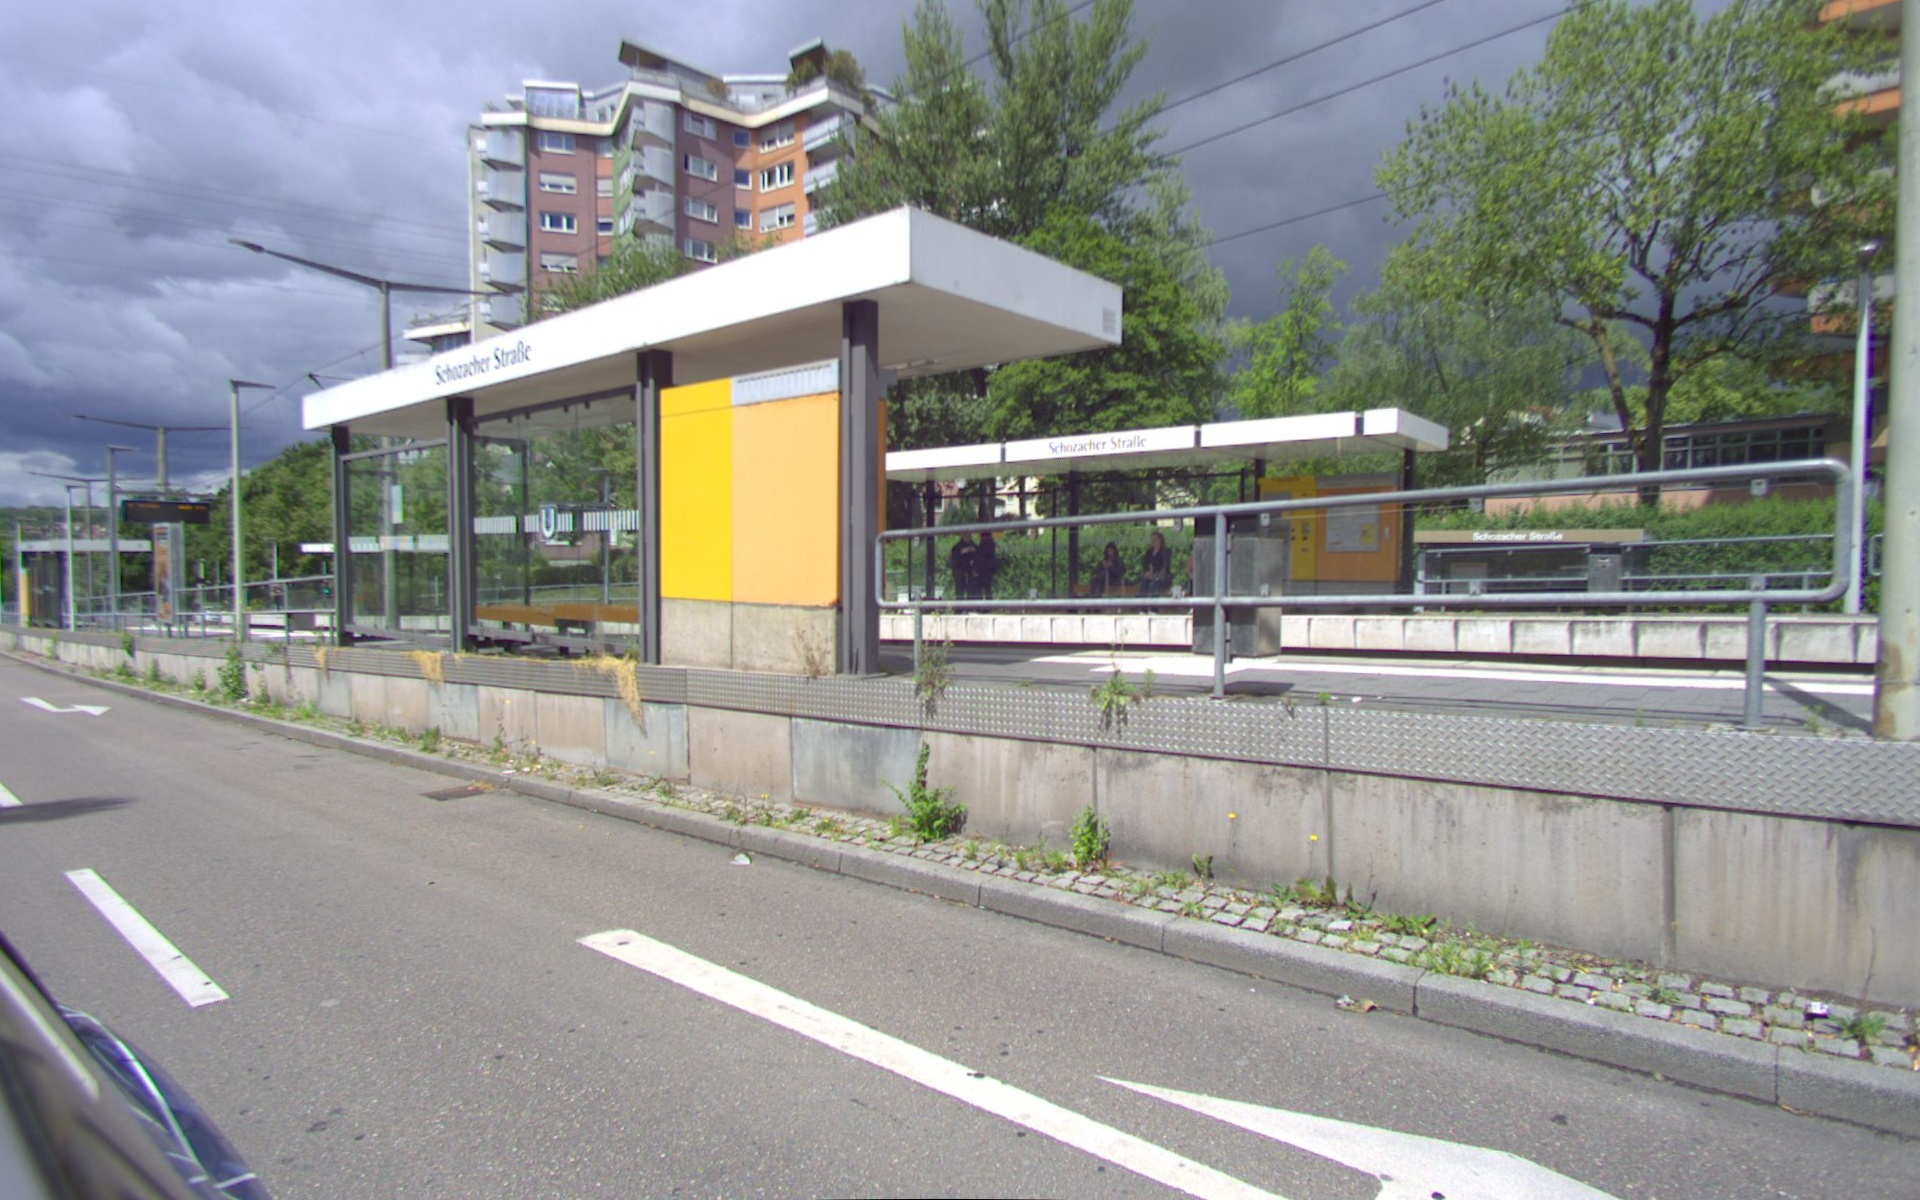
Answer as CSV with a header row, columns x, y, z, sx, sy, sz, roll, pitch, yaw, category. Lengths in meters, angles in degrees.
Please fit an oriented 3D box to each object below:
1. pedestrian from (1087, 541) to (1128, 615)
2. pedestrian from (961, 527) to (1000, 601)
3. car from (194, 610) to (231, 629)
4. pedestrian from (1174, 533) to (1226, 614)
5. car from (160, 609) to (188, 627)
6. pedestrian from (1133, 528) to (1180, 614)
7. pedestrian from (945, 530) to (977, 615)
x,y,z,sx,sy,sz,roll,pitch,yaw,category
2.524,-0.368,17.311,0.541,1.246,0.516,-1,0,29,pedestrian
0.390,-0.679,19.346,0.520,1.390,0.537,2,1,33,pedestrian
-59.689,1.544,80.819,3.999,1.429,1.637,-1,0,42,car
3.808,-0.406,16.035,0.517,1.246,0.734,-1,0,41,pedestrian
-71.753,1.630,92.394,1.635,1.524,3.740,-1,0,-45,car
3.251,-0.471,16.739,0.506,1.379,0.637,-1,-1,41,pedestrian
0.025,-0.532,19.880,0.558,1.657,0.520,-1,0,9,pedestrian
